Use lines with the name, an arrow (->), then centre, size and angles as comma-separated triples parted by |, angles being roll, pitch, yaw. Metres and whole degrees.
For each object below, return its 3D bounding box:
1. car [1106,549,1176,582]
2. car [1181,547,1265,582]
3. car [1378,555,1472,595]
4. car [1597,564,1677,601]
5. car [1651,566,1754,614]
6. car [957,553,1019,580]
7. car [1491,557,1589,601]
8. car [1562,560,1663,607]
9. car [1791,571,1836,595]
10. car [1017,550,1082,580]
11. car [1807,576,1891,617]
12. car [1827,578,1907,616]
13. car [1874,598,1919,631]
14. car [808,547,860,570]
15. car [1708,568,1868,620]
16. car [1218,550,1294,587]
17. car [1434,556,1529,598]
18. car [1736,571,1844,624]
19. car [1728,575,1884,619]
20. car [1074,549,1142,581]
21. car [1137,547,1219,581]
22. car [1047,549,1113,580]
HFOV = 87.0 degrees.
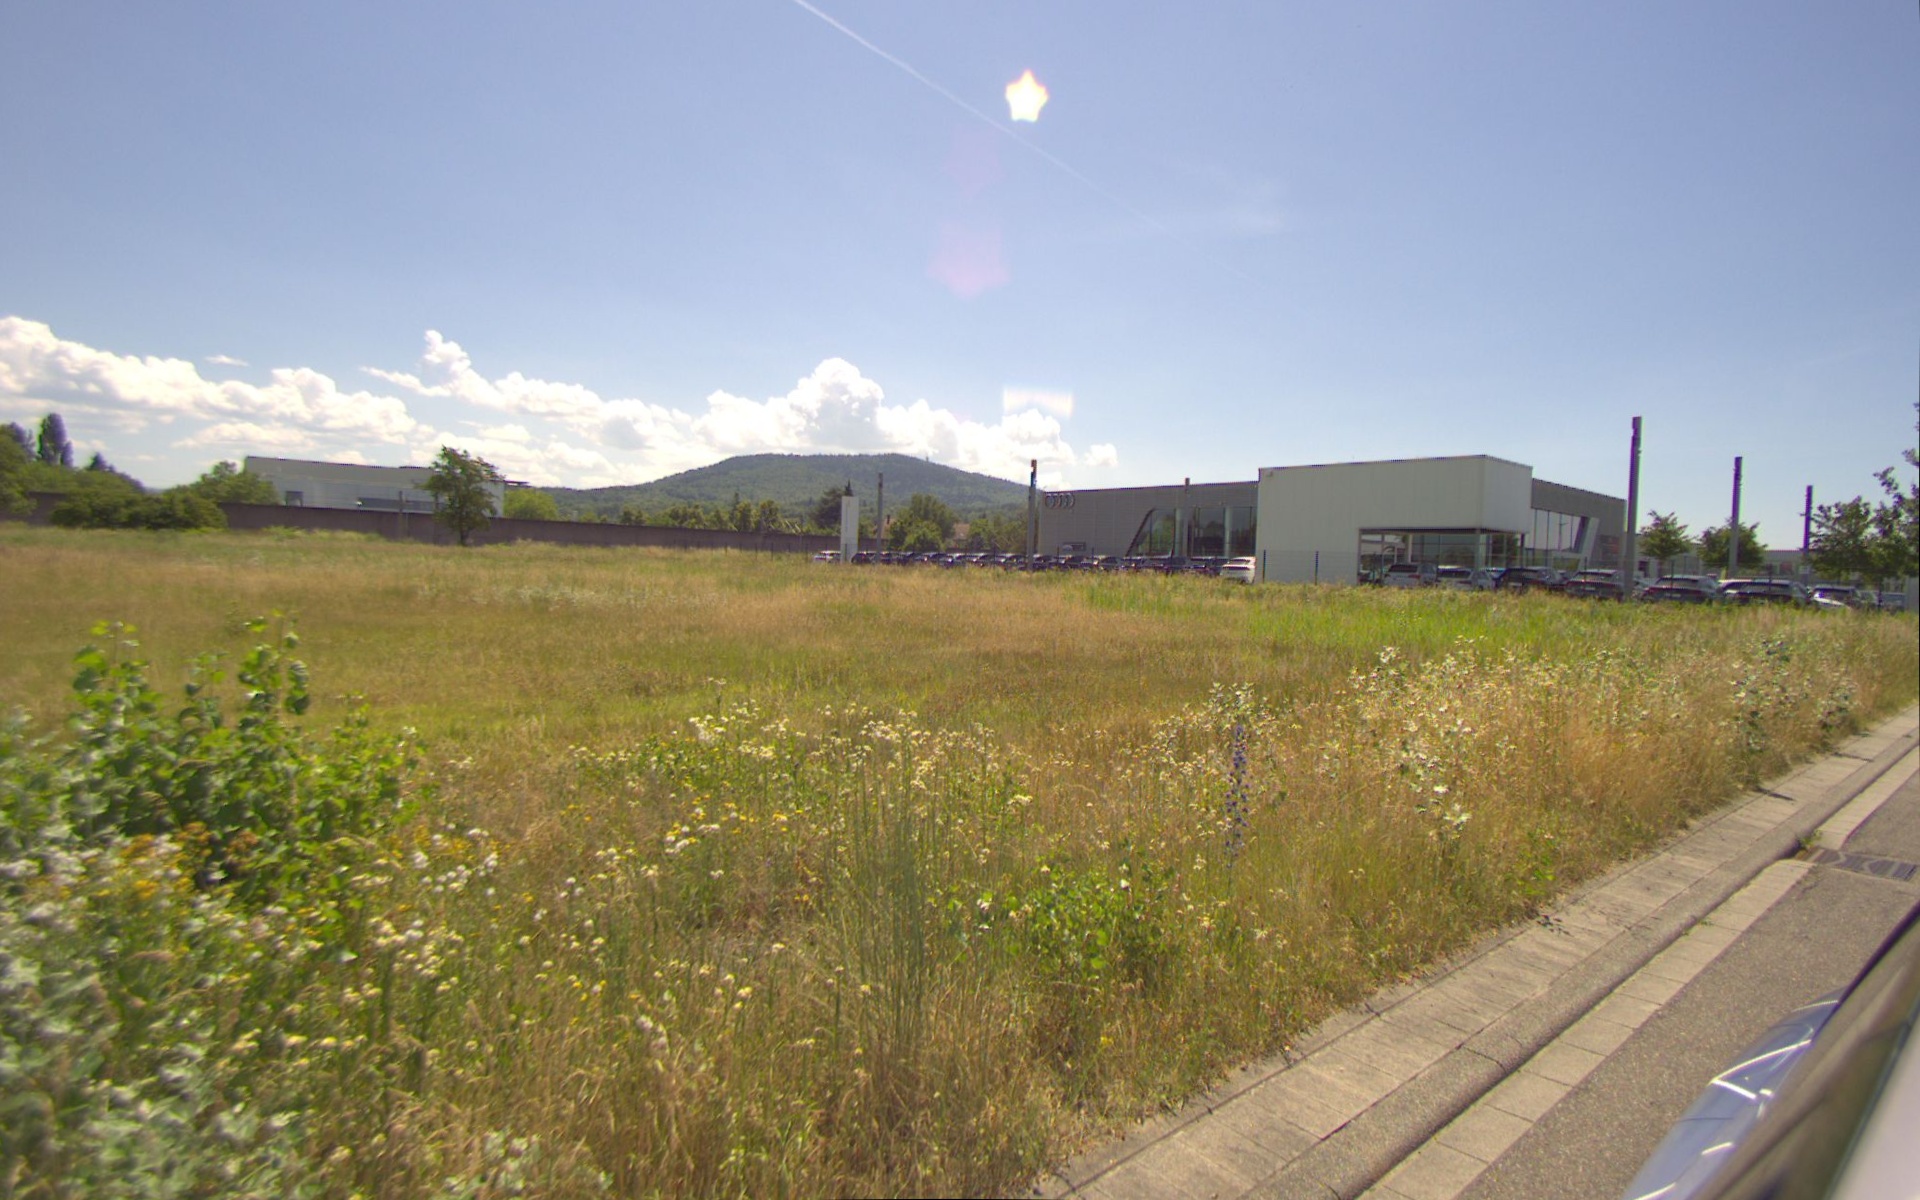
car -> 10.653, -2.044, 59.527 | 3.930, 1.807, 1.998 | 0, 3, -41
car -> 14.504, -1.934, 55.681 | 4.723, 1.746, 2.030 | 0, 4, -40
car -> 21.716, -1.161, 47.187 | 4.723, 1.674, 2.030 | 0, 4, -40
car -> 33.510, -0.850, 50.055 | 4.695, 1.609, 2.030 | 0, 4, -41
car -> 28.464, -0.378, 38.750 | 4.723, 1.630, 2.030 | 0, 4, -40
car -> 1.956, -2.314, 70.225 | 3.930, 1.807, 1.998 | 0, 3, -41
car -> 24.805, -0.884, 43.221 | 4.723, 1.700, 2.030 | 0, 4, -40
car -> 26.454, -0.656, 40.990 | 4.723, 1.746, 2.030 | 0, 4, -40
car -> 64.605, -1.303, 76.589 | 4.215, 1.632, 1.965 | 0, 4, -42
car -> 5.827, -2.263, 65.412 | 3.930, 1.807, 1.998 | 0, 3, -41
car -> 38.775, -0.143, 44.101 | 4.695, 1.592, 2.030 | 0, 4, -41
car -> 42.697, -0.121, 47.602 | 5.147, 1.532, 2.030 | 0, 5, -41
car -> 51.538, 0.748, 55.152 | 4.900, 1.474, 1.966 | -2, 5, -41
car -> -10.571, -3.512, 84.952 | 3.930, 1.807, 1.998 | 0, 3, -41
car -> 32.733, -0.281, 40.118 | 1.995, 1.713, 4.542 | 1, 4, -39
car -> 15.658, -1.665, 53.441 | 3.930, 1.807, 1.998 | 0, 3, -41
car -> 23.351, -1.016, 45.244 | 4.723, 1.674, 2.030 | 0, 4, -40
car -> 30.227, -0.084, 36.797 | 5.016, 1.713, 2.030 | 0, 4, -40
car -> 34.790, -0.167, 41.728 | 1.994, 1.475, 4.543 | 1, 4, -37
car -> 9.038, -2.111, 61.564 | 3.930, 1.807, 1.998 | 0, 3, -41
car -> 12.444, -2.052, 57.689 | 4.723, 1.746, 2.030 | 0, 4, -40
car -> 7.526, -2.198, 63.407 | 3.930, 1.807, 1.998 | 0, 3, -41
